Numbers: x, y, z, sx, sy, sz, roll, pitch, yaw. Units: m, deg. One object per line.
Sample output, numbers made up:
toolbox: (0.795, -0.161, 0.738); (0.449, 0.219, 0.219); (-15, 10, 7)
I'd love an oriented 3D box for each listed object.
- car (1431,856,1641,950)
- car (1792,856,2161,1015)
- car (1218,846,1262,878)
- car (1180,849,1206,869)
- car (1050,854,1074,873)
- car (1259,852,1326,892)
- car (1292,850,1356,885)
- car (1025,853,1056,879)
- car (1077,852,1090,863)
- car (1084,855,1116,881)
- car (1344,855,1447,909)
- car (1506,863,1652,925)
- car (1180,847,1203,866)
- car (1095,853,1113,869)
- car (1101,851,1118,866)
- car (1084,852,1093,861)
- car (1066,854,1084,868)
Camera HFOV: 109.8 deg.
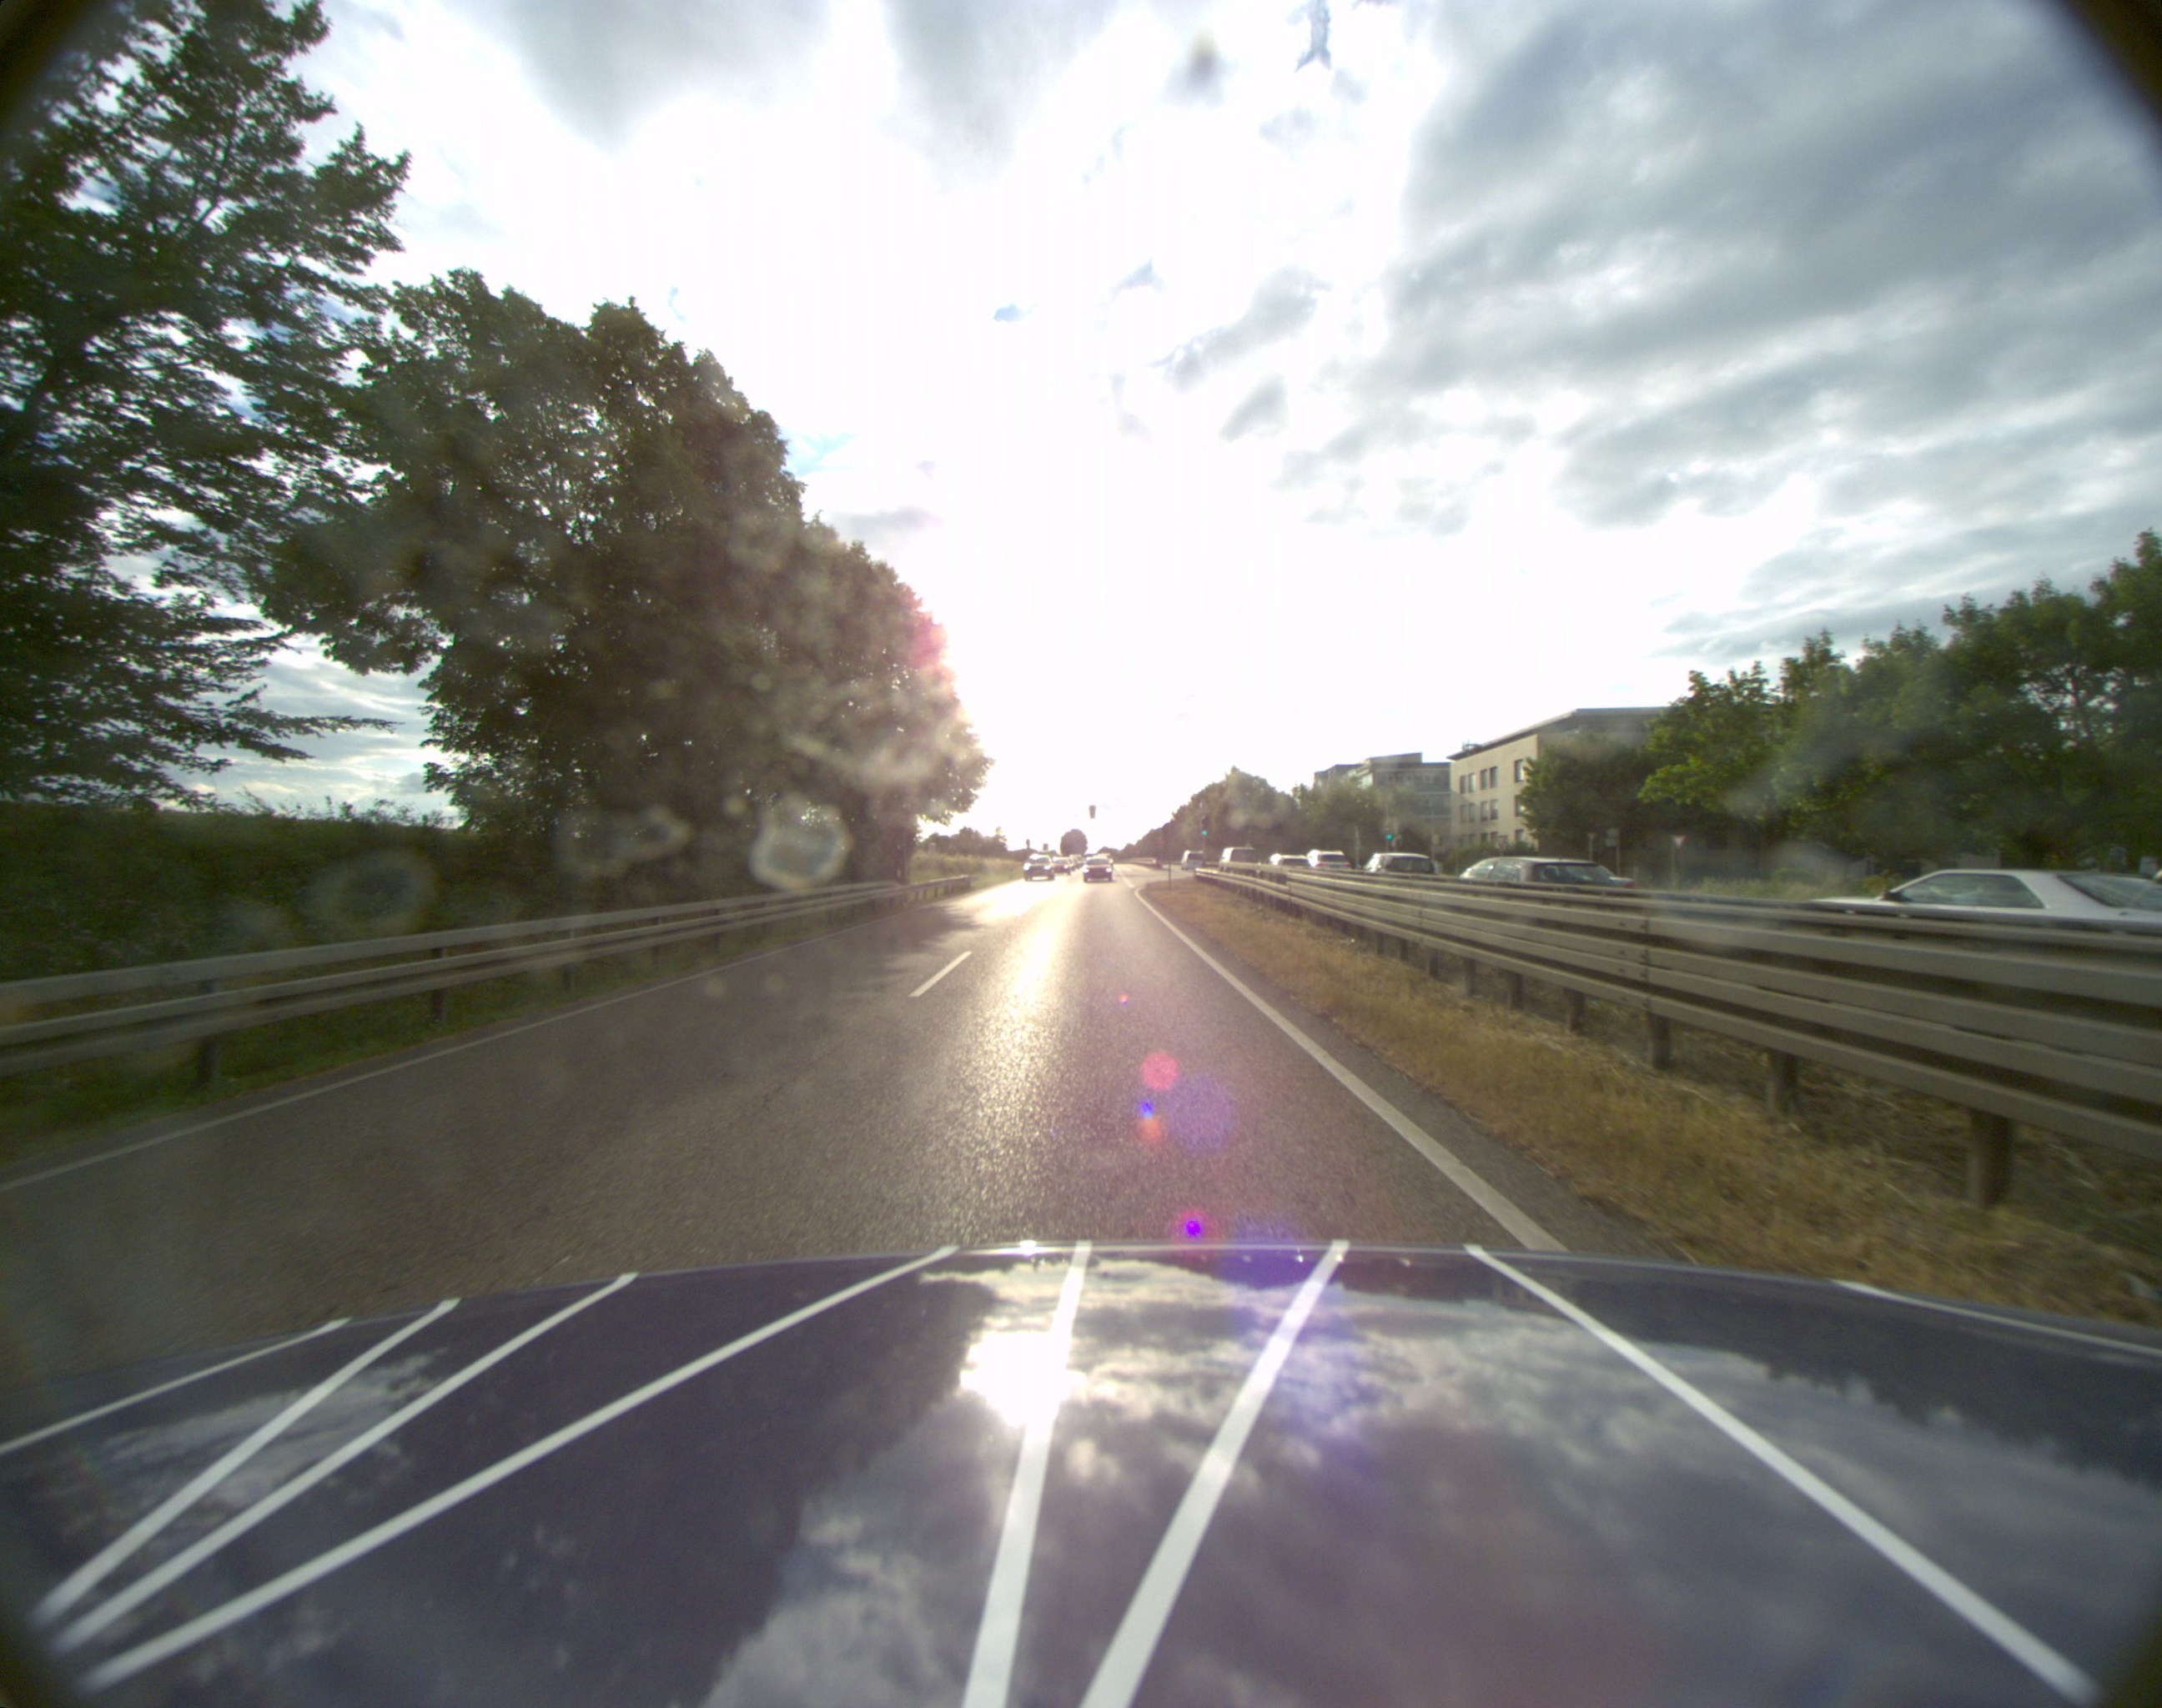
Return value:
car: (8.221, 0.800, 14.164); (1.722, 1.458, 3.734); (-1, 0, 1)
car: (11.840, 0.829, 9.532); (1.839, 1.527, 4.397); (-1, 0, 2)
car: (9.925, 0.476, 47.690); (1.903, 1.906, 5.051); (0, 1, 3)
car: (10.985, 0.475, 74.817); (1.939, 1.861, 5.347); (0, 0, 1)
car: (-1.577, 0.802, 64.805); (1.668, 1.467, 3.866); (-2, 0, 3)
car: (9.038, 0.713, 32.818); (1.717, 1.580, 4.554); (-1, 0, 1)
car: (13.065, 0.667, 41.145); (2.039, 1.739, 4.845); (1, 1, 3)
car: (-2.753, 0.808, 52.798); (1.723, 1.658, 4.419); (-2, 0, 2)
car: (0.458, 0.541, 127.062); (1.998, 1.740, 4.000); (3, 1, 2)
car: (1.125, 0.798, 44.213); (1.723, 1.467, 3.729); (1, 0, 3)
car: (8.970, 0.761, 21.954); (1.560, 1.352, 3.463); (-2, 0, 1)
car: (12.219, 0.925, 18.886); (1.433, 1.345, 3.309); (0, 0, -1)
car: (12.071, 0.293, 83.259); (1.939, 1.978, 5.091); (-1, 0, 1)
car: (2.297, 0.702, 75.330); (1.758, 1.543, 4.000); (-1, 0, 1)
car: (3.224, 0.474, 85.540); (1.786, 1.624, 3.866); (-1, 0, 3)
car: (1.811, 0.641, 175.719); (1.998, 2.002, 4.000); (-2, 1, 1)
car: (-0.662, 0.752, 81.720); (1.723, 1.467, 3.866); (-2, 0, 2)
